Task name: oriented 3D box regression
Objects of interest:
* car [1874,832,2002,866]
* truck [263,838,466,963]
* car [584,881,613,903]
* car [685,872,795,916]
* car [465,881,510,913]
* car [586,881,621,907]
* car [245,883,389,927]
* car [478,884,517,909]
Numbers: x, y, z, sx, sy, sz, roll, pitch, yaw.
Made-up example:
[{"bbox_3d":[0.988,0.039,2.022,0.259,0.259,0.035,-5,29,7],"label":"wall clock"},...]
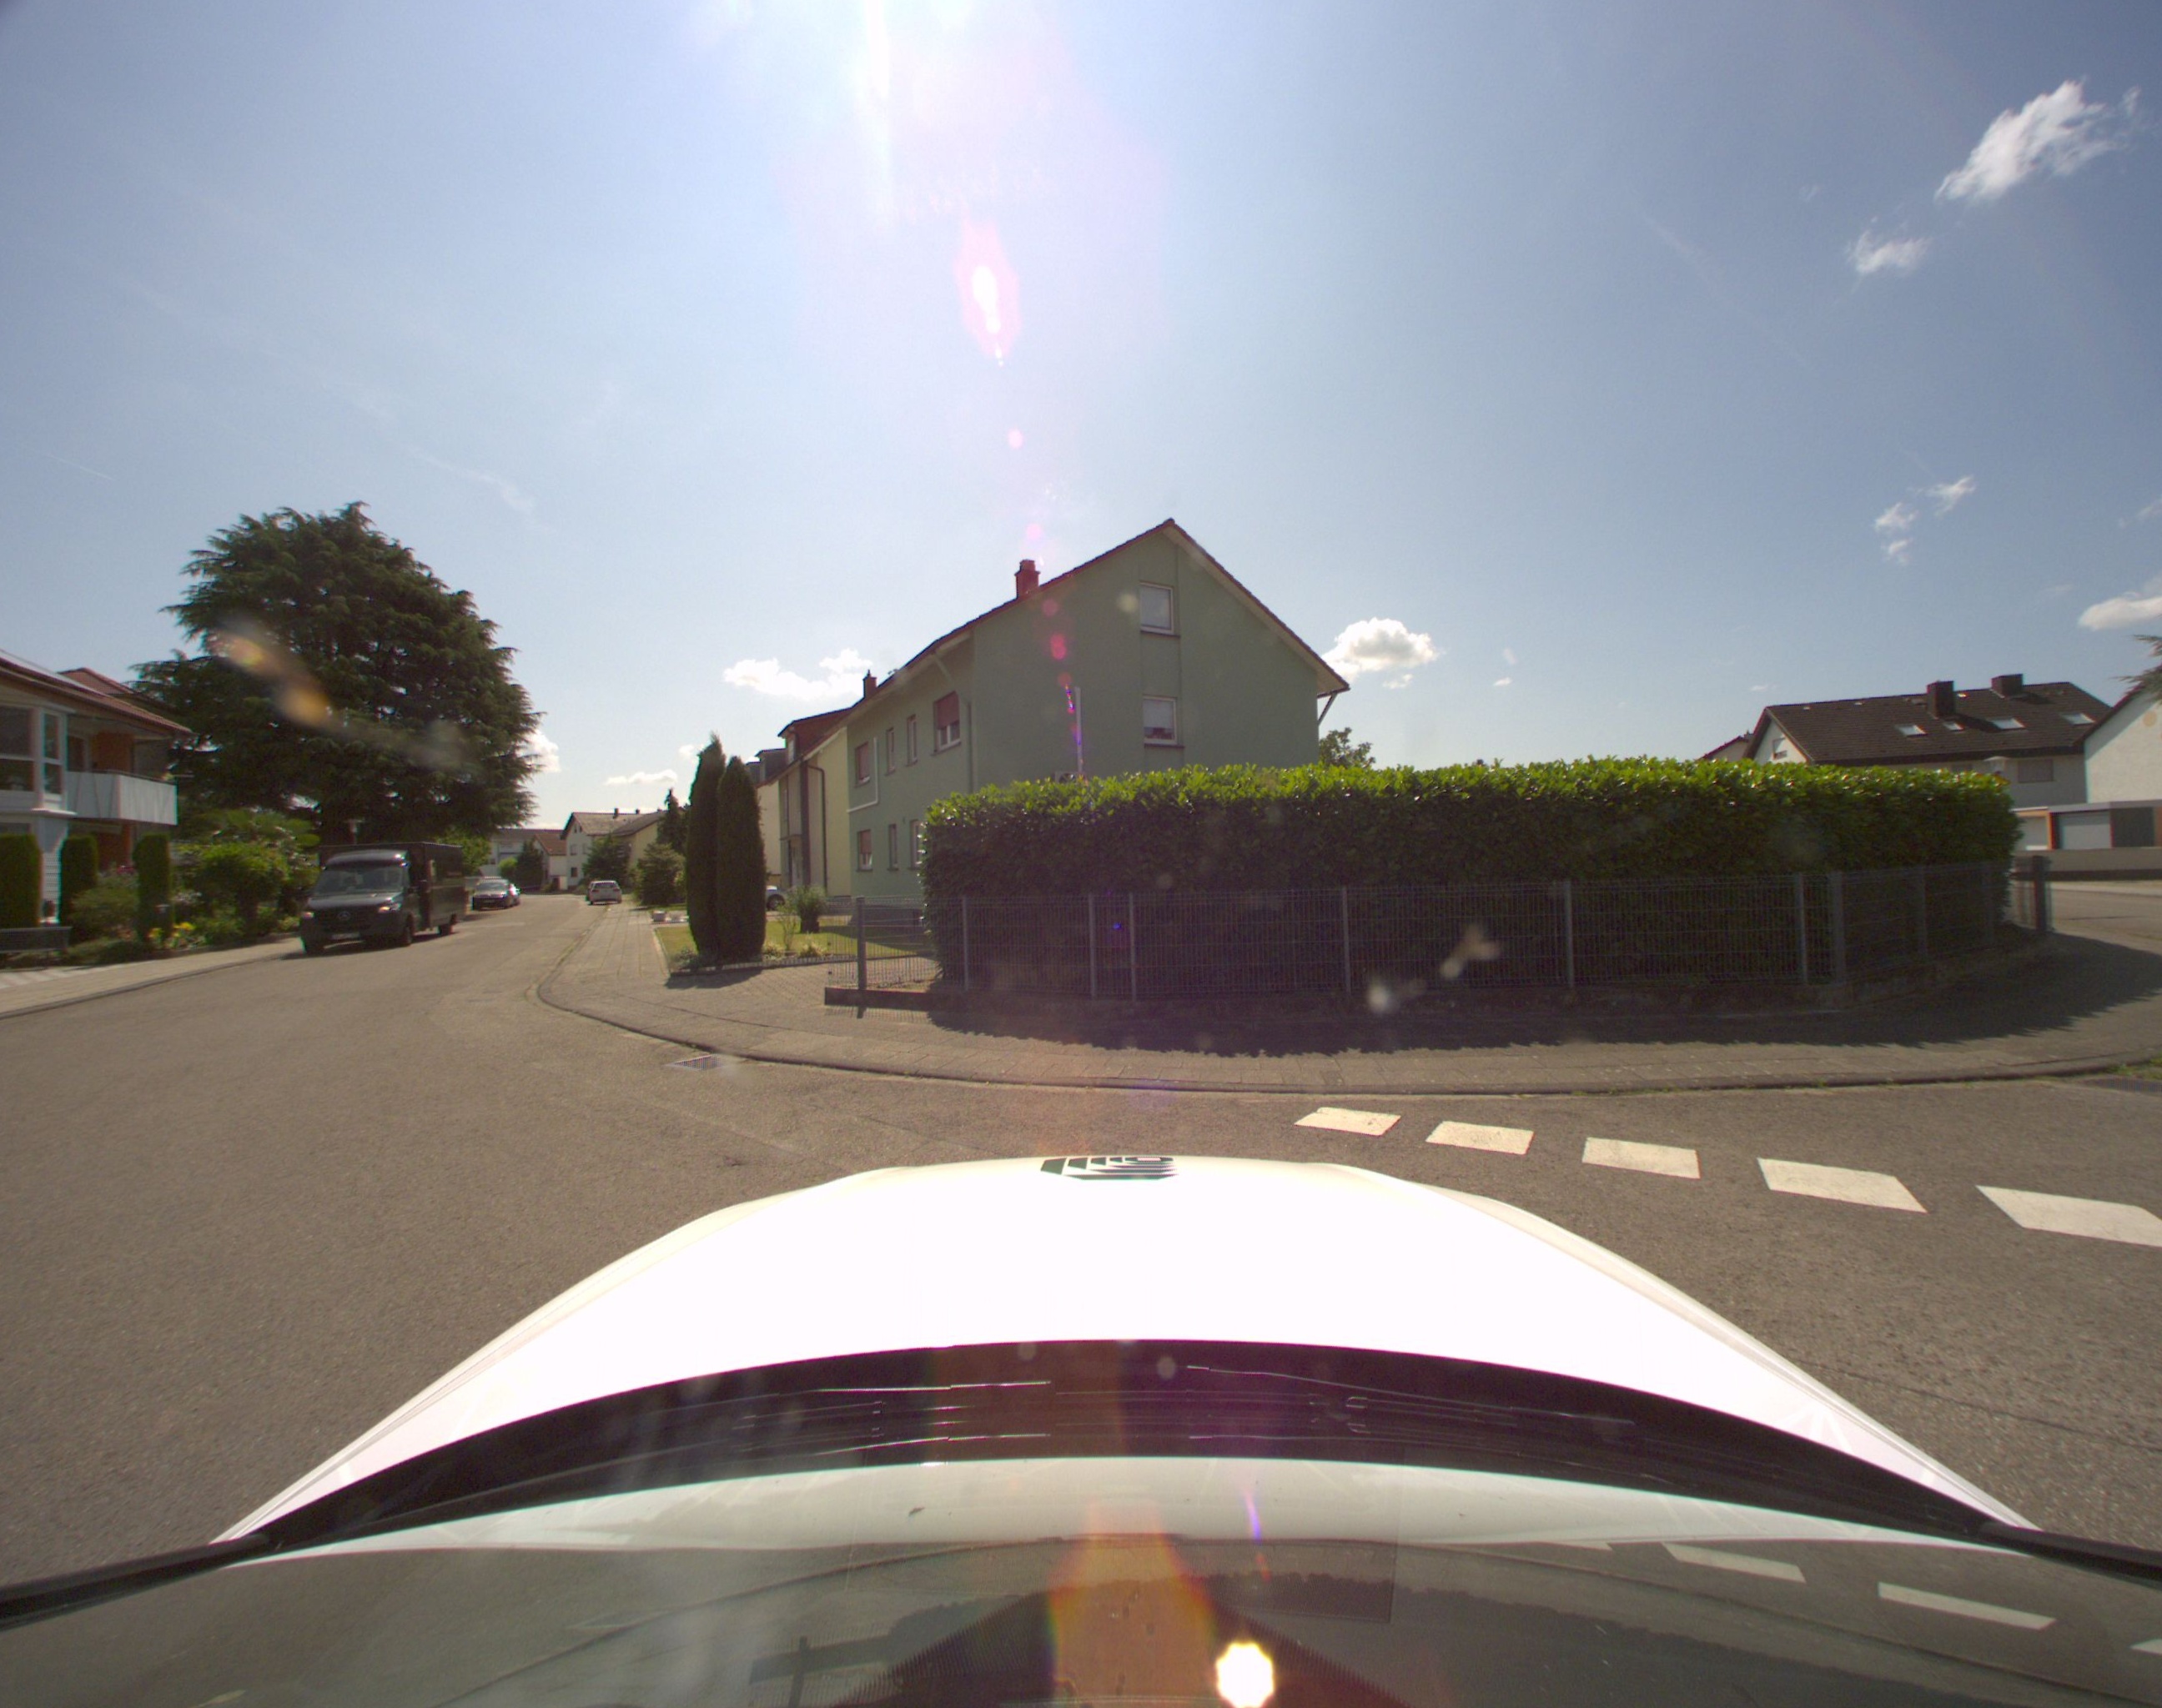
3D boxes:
[{"bbox_3d":[39.216,-0.192,37.372,3.568,1.408,1.793,-2,-1,22],"label":"car"},{"bbox_3d":[-19.594,1.155,22.805,2.448,2.787,7.231,-5,1,-28],"label":"truck"},{"bbox_3d":[-37.185,2.903,62.695,1.820,1.495,3.959,-2,-1,-32],"label":"car"},{"bbox_3d":[-13.895,1.595,33.206,3.937,1.510,1.757,-2,0,-29],"label":"car"},{"bbox_3d":[-35.282,2.511,48.487,1.820,1.763,4.164,-1,-1,-32],"label":"car"},{"bbox_3d":[-30.446,2.496,51.888,1.820,1.495,3.959,-2,-1,-32],"label":"car"},{"bbox_3d":[-33.303,2.172,35.653,4.216,1.653,1.798,-2,-1,-27],"label":"car"},{"bbox_3d":[-38.302,2.743,53.545,1.820,1.495,3.959,-2,-1,-32],"label":"car"}]
